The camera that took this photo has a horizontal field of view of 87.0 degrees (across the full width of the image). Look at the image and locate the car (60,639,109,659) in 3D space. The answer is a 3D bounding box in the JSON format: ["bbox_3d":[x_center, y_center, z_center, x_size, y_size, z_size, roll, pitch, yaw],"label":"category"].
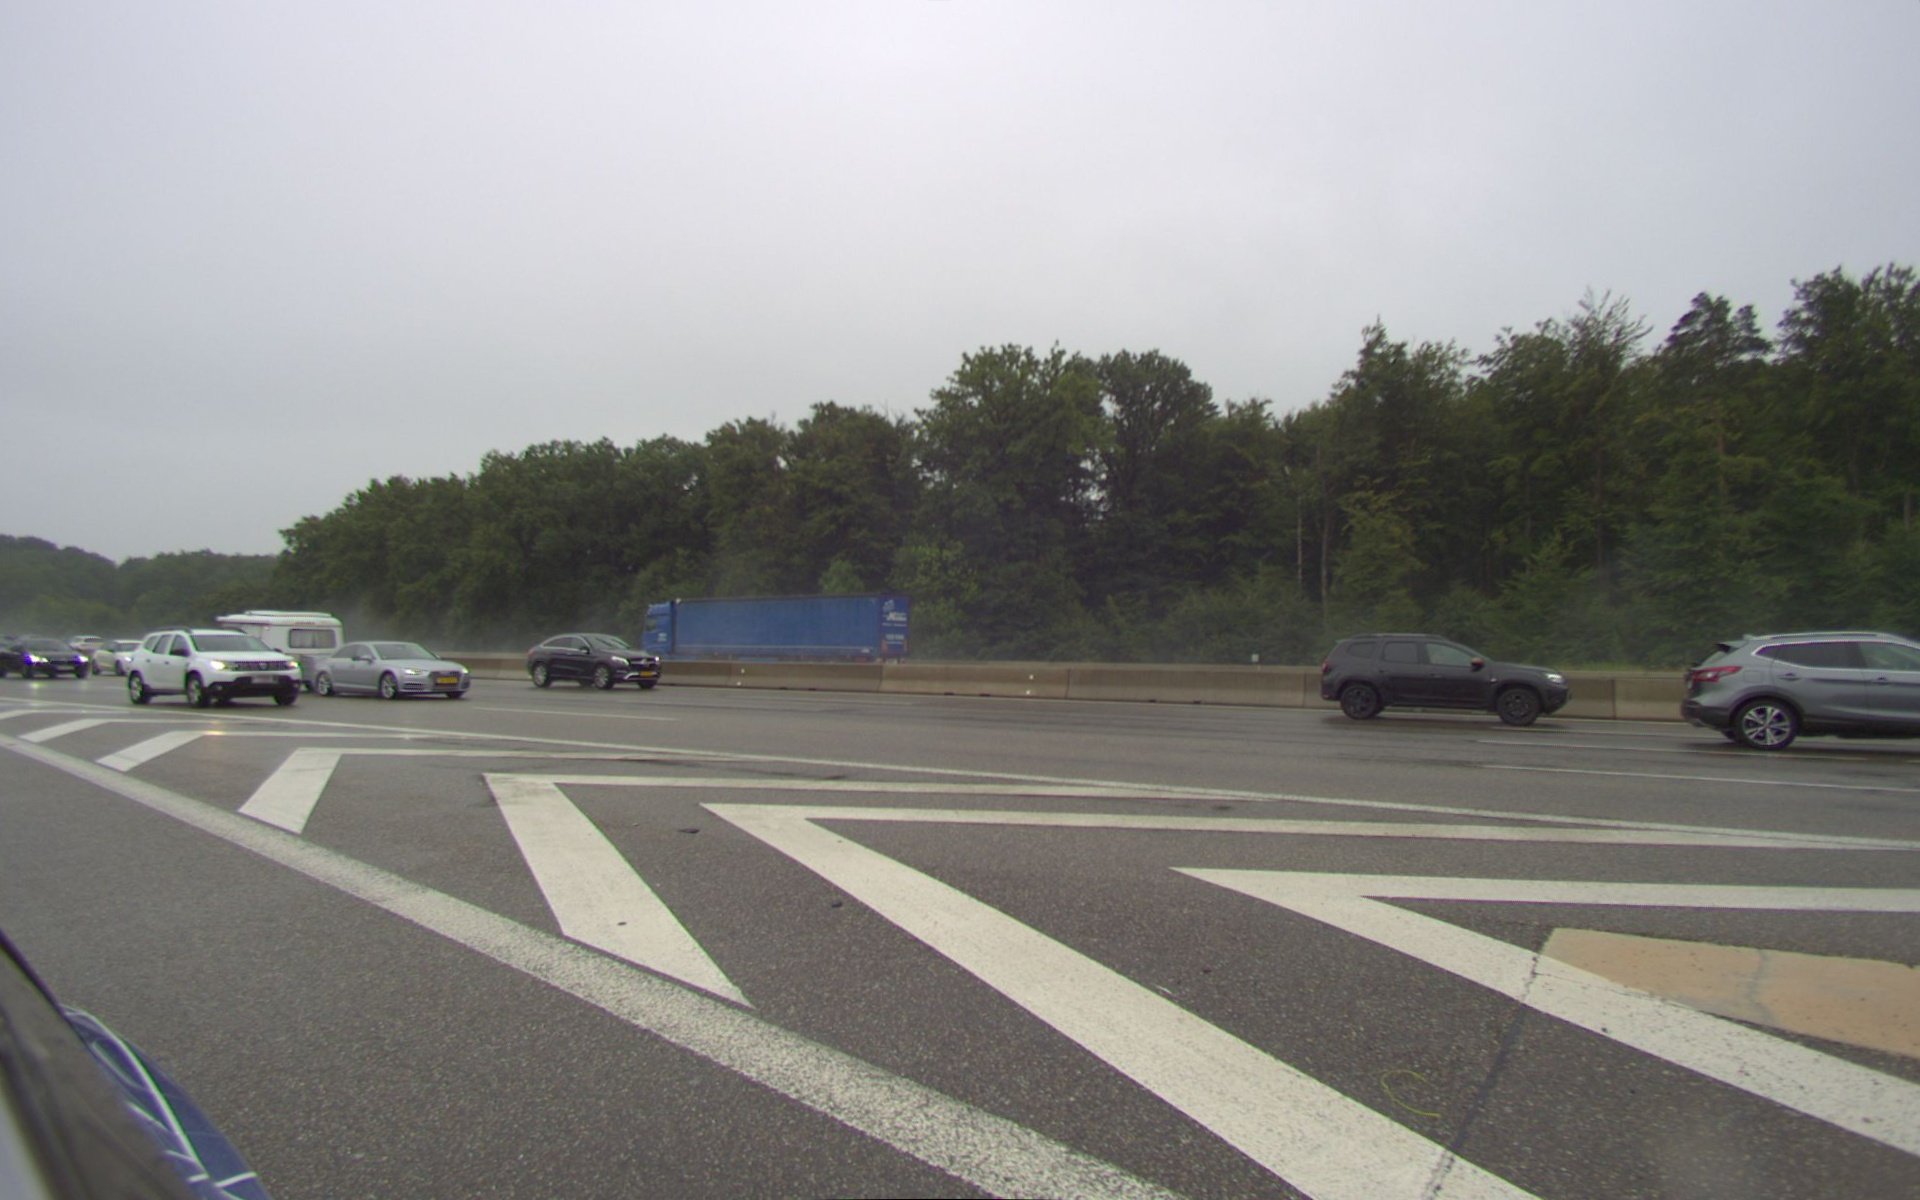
[{"bbox_3d":[-70.110,3.930,81.047,4.320,1.538,1.775,-2,-3,32],"label":"car"}]

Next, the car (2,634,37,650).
[{"bbox_3d":[-102.394,4.586,110.198,3.983,1.763,1.674,-2,-3,29],"label":"car"}]

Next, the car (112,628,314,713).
[{"bbox_3d":[-15.546,1.453,21.028,4.306,1.598,1.773,-2,-5,30],"label":"car"}]

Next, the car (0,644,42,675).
[{"bbox_3d":[-45.860,2.859,48.351,4.107,1.425,1.805,-3,-5,30],"label":"car"}]

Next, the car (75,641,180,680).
[{"bbox_3d":[-34.057,2.457,41.371,4.486,1.492,1.866,-1,-4,31],"label":"car"}]

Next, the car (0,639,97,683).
[{"bbox_3d":[-33.618,2.190,36.782,4.481,1.492,1.868,-1,-3,28],"label":"car"}]

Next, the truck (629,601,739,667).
[{"bbox_3d":[-15.253,1.879,55.908,5.690,3.441,2.741,-2,-2,32],"label":"truck"}]

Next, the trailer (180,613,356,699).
[{"bbox_3d":[-19.009,1.557,27.757,5.164,2.172,2.111,-2,-5,33],"label":"trailer"}]

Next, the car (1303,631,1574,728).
[{"bbox_3d":[9.021,1.470,19.322,4.438,1.676,1.913,-1,-4,28],"label":"car"}]

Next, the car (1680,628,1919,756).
[{"bbox_3d":[12.240,1.188,13.307,4.319,1.586,1.706,-2,-4,31],"label":"car"}]

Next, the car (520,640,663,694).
[{"bbox_3d":[-11.549,2.082,31.623,4.507,1.587,1.692,-1,-5,30],"label":"car"}]

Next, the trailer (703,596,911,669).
[{"bbox_3d":[-7.963,1.691,51.440,11.357,3.443,2.712,-2,-2,31],"label":"trailer"}]

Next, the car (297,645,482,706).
[{"bbox_3d":[-13.864,1.795,24.527,4.564,1.358,1.832,-2,-5,30],"label":"car"}]
